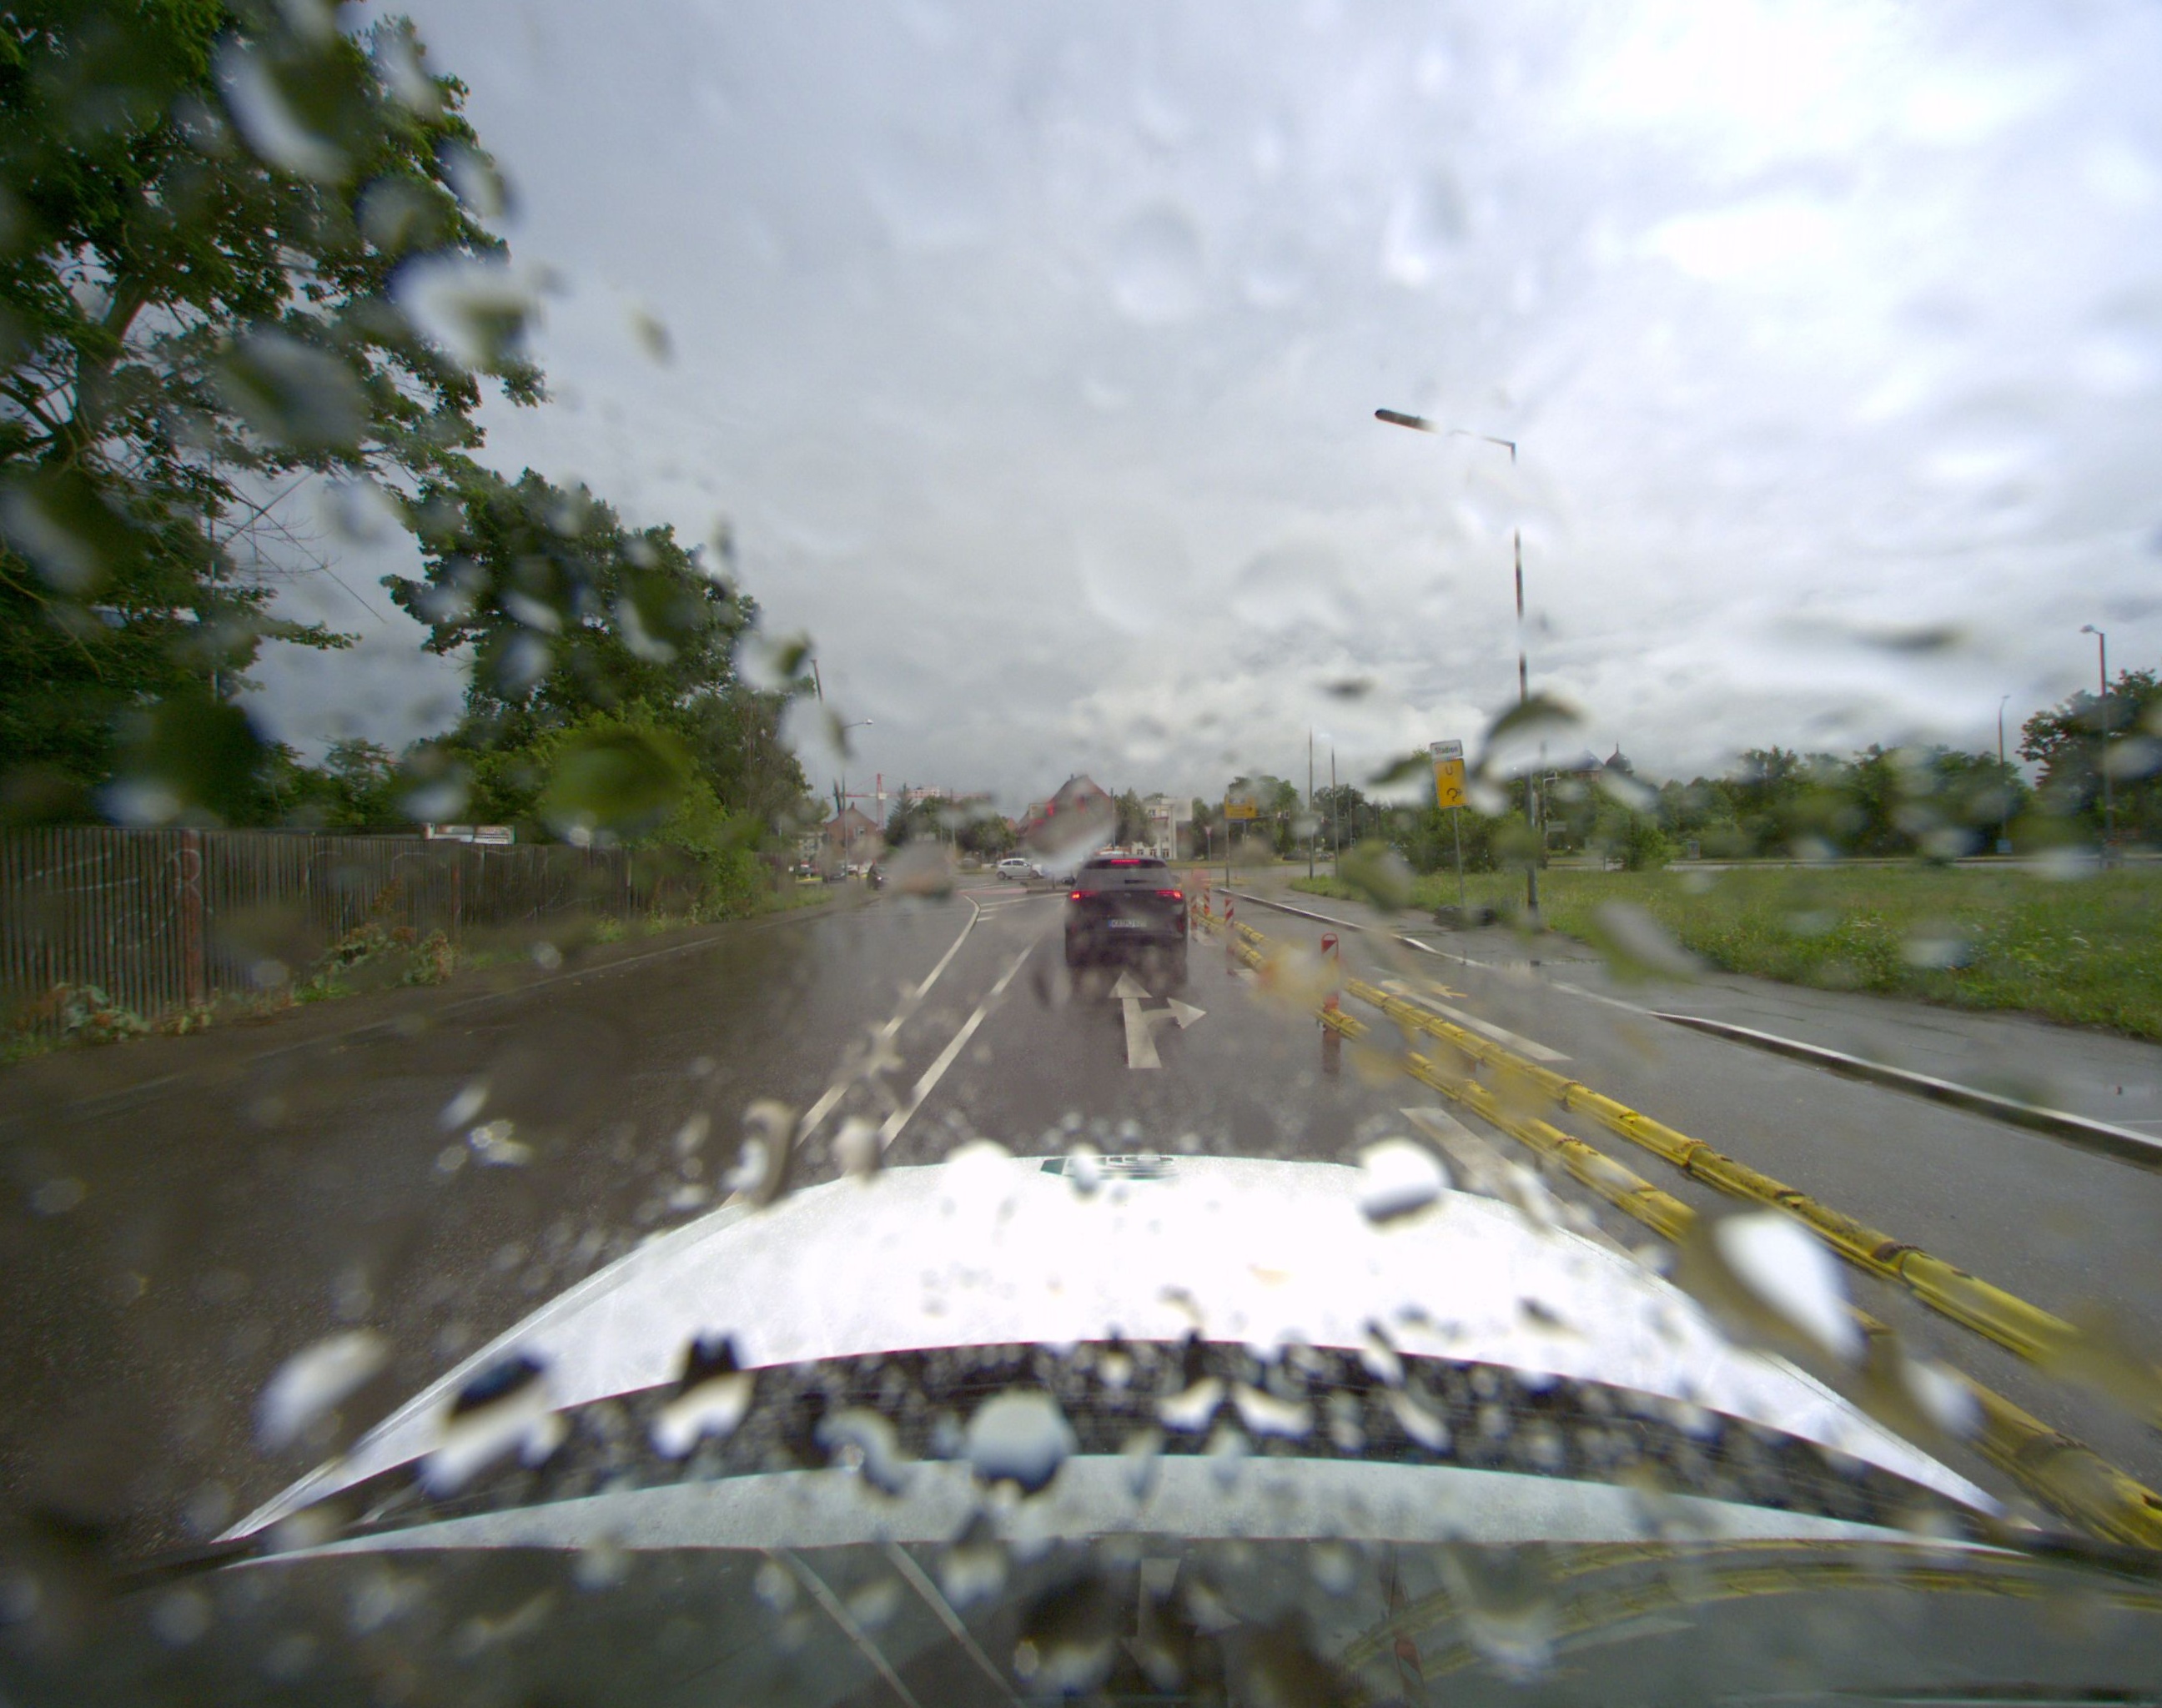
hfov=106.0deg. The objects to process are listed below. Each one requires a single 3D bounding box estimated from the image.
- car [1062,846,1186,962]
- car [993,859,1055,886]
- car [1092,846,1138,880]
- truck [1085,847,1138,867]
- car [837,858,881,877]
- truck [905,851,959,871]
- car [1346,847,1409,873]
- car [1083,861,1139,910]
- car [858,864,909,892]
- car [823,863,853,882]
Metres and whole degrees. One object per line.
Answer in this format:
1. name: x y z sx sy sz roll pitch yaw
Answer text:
1. car: 0.556 0.706 13.088 1.704 1.574 3.680 -1 -1 -2
2. car: -4.056 1.309 58.488 3.962 1.830 2.006 -2 -1 10
3. car: 1.963 0.487 45.588 1.852 1.809 4.418 -1 0 12
4. truck: 4.166 0.394 110.911 7.041 2.650 2.330 -1 0 1
5. car: -23.993 1.448 88.144 1.872 1.876 5.158 -2 0 20
6. truck: -19.957 0.982 109.258 6.750 2.442 2.408 -2 0 -34
7. car: 20.071 0.404 55.144 3.909 1.644 1.679 -1 0 19
8. car: 0.965 1.026 27.865 1.730 1.514 3.602 -1 0 -1
9. car: -12.568 1.529 51.586 1.793 1.552 4.381 -4 0 -32
10. car: -20.779 1.594 69.542 1.883 1.482 4.145 -2 -1 -23
